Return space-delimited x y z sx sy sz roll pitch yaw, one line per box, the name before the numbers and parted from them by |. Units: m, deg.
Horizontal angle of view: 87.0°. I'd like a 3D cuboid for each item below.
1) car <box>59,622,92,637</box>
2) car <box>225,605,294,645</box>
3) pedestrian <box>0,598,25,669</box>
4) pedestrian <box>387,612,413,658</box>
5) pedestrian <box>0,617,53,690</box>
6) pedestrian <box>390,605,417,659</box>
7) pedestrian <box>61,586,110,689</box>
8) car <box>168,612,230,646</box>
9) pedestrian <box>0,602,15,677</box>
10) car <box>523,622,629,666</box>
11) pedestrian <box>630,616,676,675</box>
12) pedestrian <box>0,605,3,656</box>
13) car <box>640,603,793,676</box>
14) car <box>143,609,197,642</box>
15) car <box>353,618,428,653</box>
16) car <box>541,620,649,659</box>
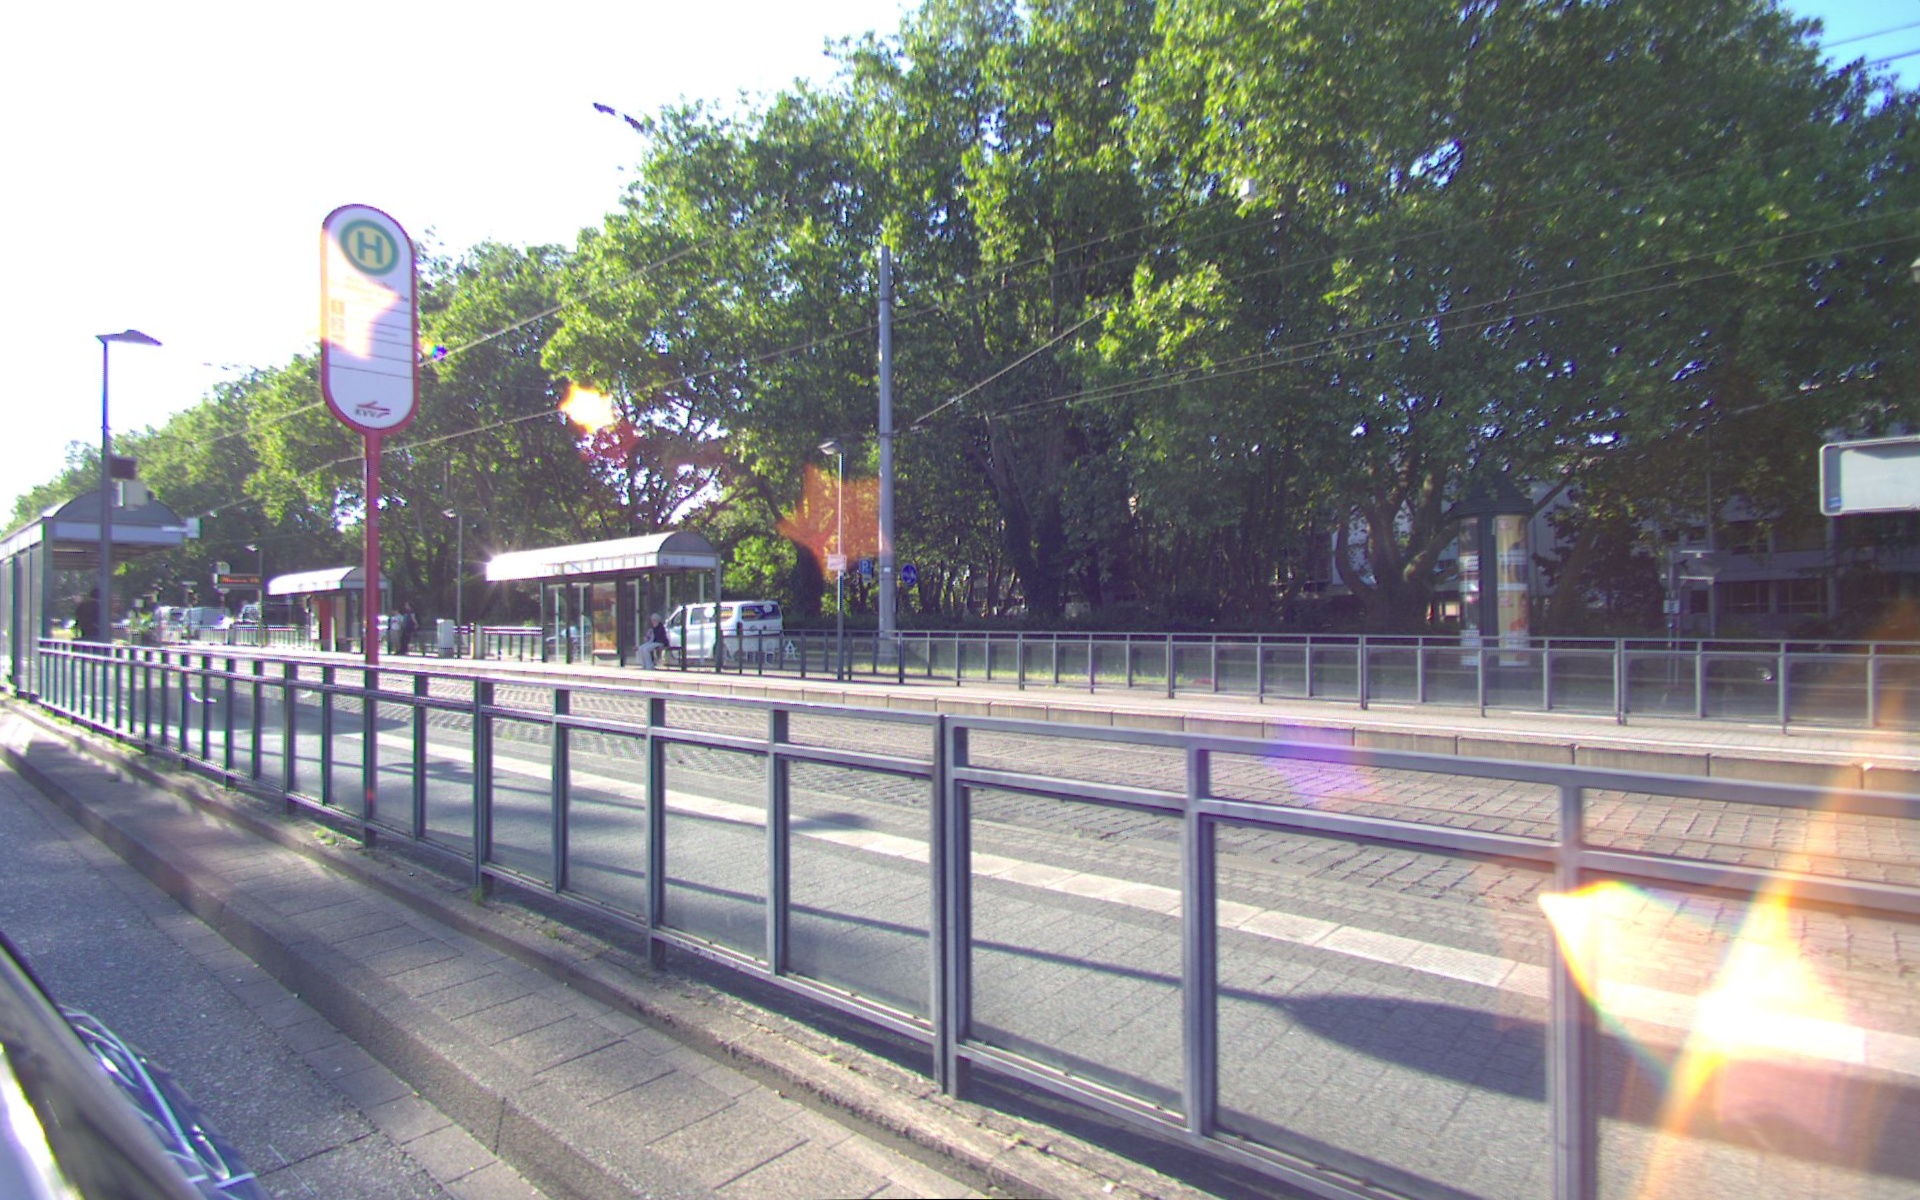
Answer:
car | -91.902 3.077 105.130 4.320 1.448 1.808 0 -3 40
car | -46.687 1.626 67.399 6.027 2.540 2.161 0 -3 40
pedestrian | -25.316 0.894 26.870 0.643 1.855 0.712 -1 0 -39
pedestrian | -19.288 1.198 34.859 0.626 1.555 0.586 0 0 42
pedestrian | -17.435 0.989 18.909 0.593 1.318 0.671 -1 0 42
pedestrian | -18.779 1.082 34.156 0.650 1.785 0.641 0 0 44
pedestrian | -14.688 0.621 16.999 0.588 1.690 0.590 0 -1 -44
car | -58.126 2.192 77.233 6.264 2.540 2.162 0 -3 38
pedestrian | -22.614 0.917 23.518 0.701 1.735 0.652 -1 0 6
car | -14.485 1.638 38.086 4.338 1.522 1.776 0 -3 40
pedestrian | -7.114 1.046 23.460 0.756 1.335 0.663 -1 -4 39
pedestrian | -30.419 0.962 31.704 0.650 1.579 0.582 -1 0 42
car | -7.785 1.199 32.083 5.086 2.140 2.046 0 -3 40
car | -64.231 2.067 82.258 6.044 2.540 2.161 0 -3 40
car | -28.646 1.758 50.870 3.968 1.664 1.884 0 -3 38
car | -13.338 1.418 36.920 4.311 1.302 1.752 0 -3 40
